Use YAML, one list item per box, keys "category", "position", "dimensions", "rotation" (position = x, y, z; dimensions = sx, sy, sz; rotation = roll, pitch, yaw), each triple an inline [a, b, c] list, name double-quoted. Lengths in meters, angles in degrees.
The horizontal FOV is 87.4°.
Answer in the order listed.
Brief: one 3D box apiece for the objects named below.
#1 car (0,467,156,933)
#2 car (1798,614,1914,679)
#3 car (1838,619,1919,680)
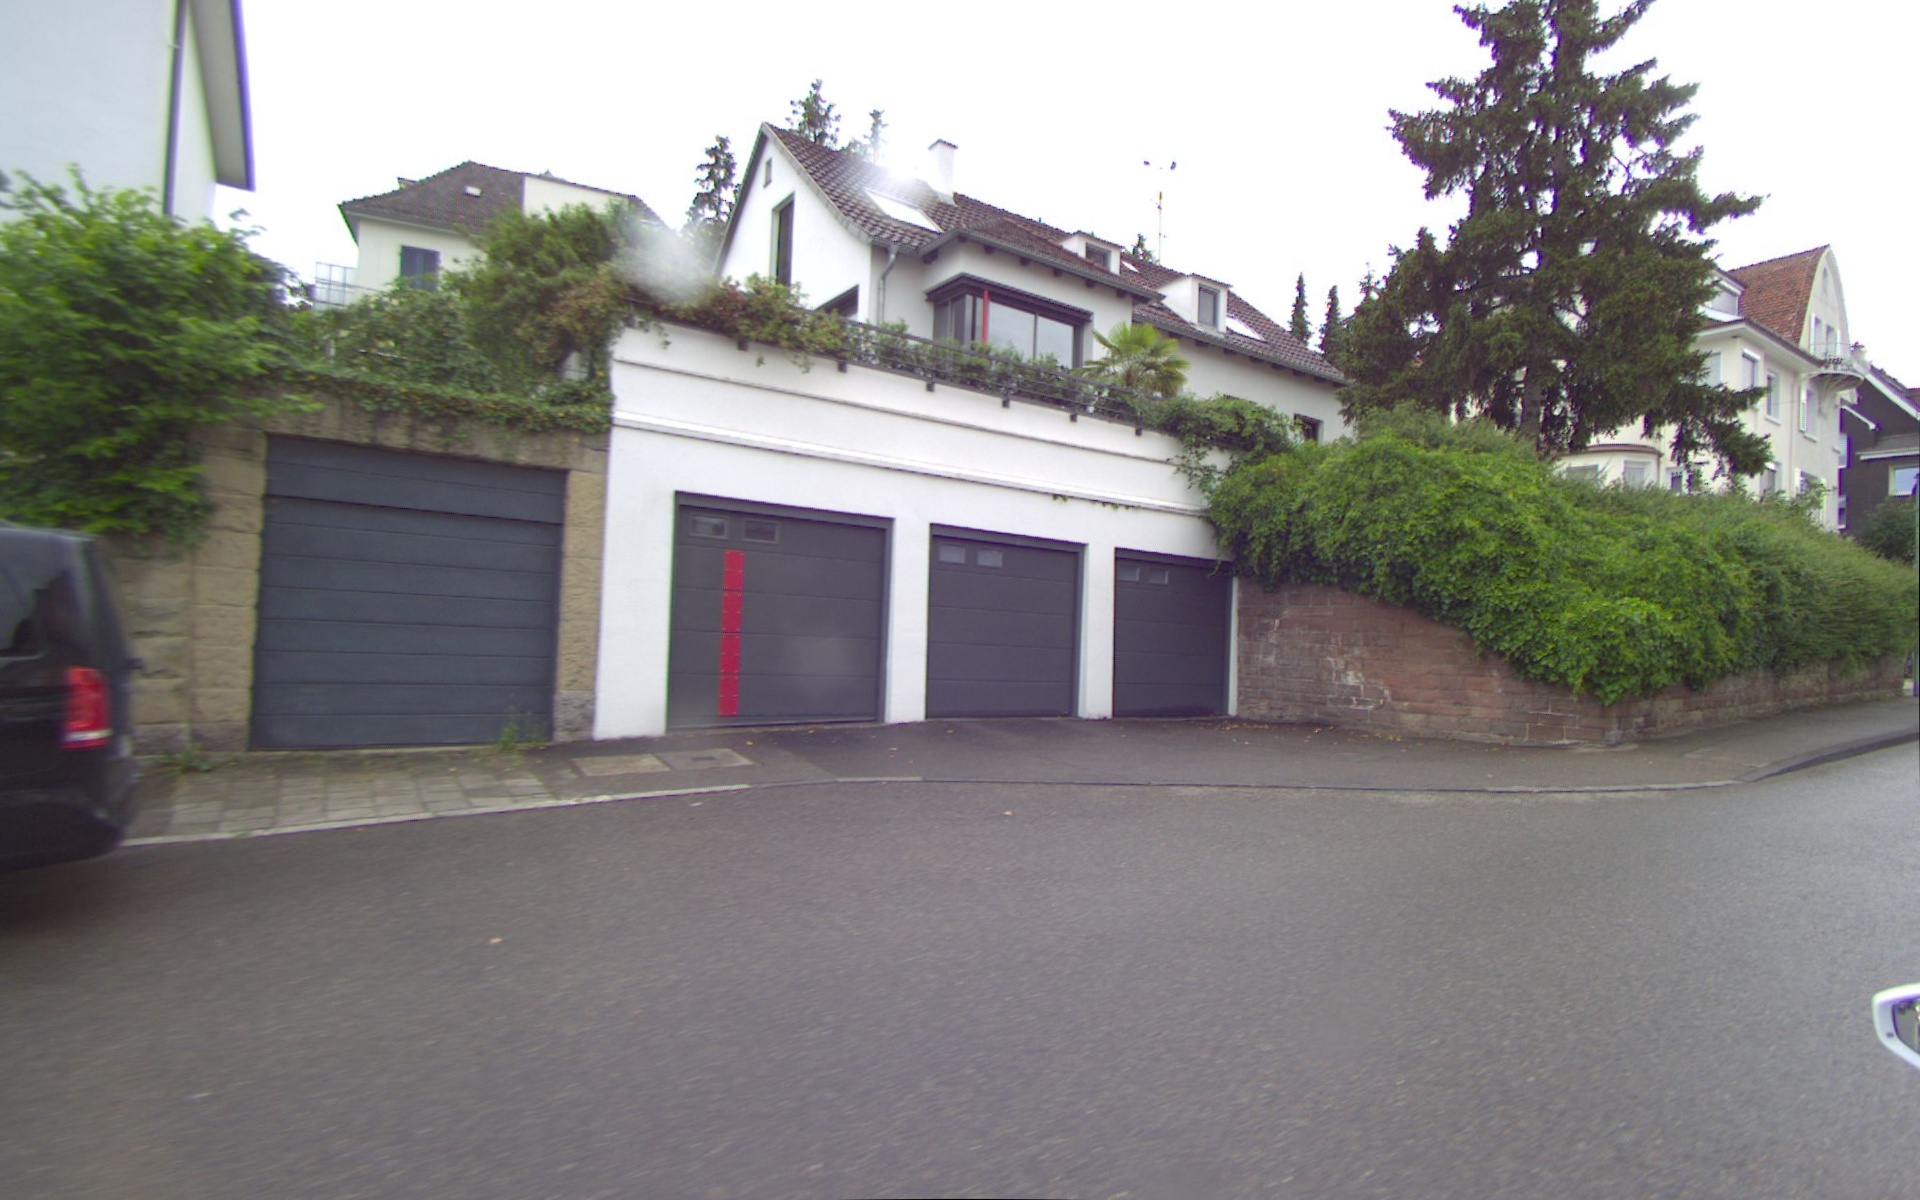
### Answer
- category: "car"
  position: [-6.212, 0.364, 3.884]
  dimensions: [4.729, 1.983, 1.979]
  rotation: [1, 1, -37]
- category: "car"
  position: [24.909, 1.272, 27.886]
  dimensions: [3.966, 1.639, 1.751]
  rotation: [2, 0, -39]
- category: "car"
  position: [28.902, 1.506, 31.221]
  dimensions: [3.966, 1.719, 1.751]
  rotation: [2, 0, -39]
